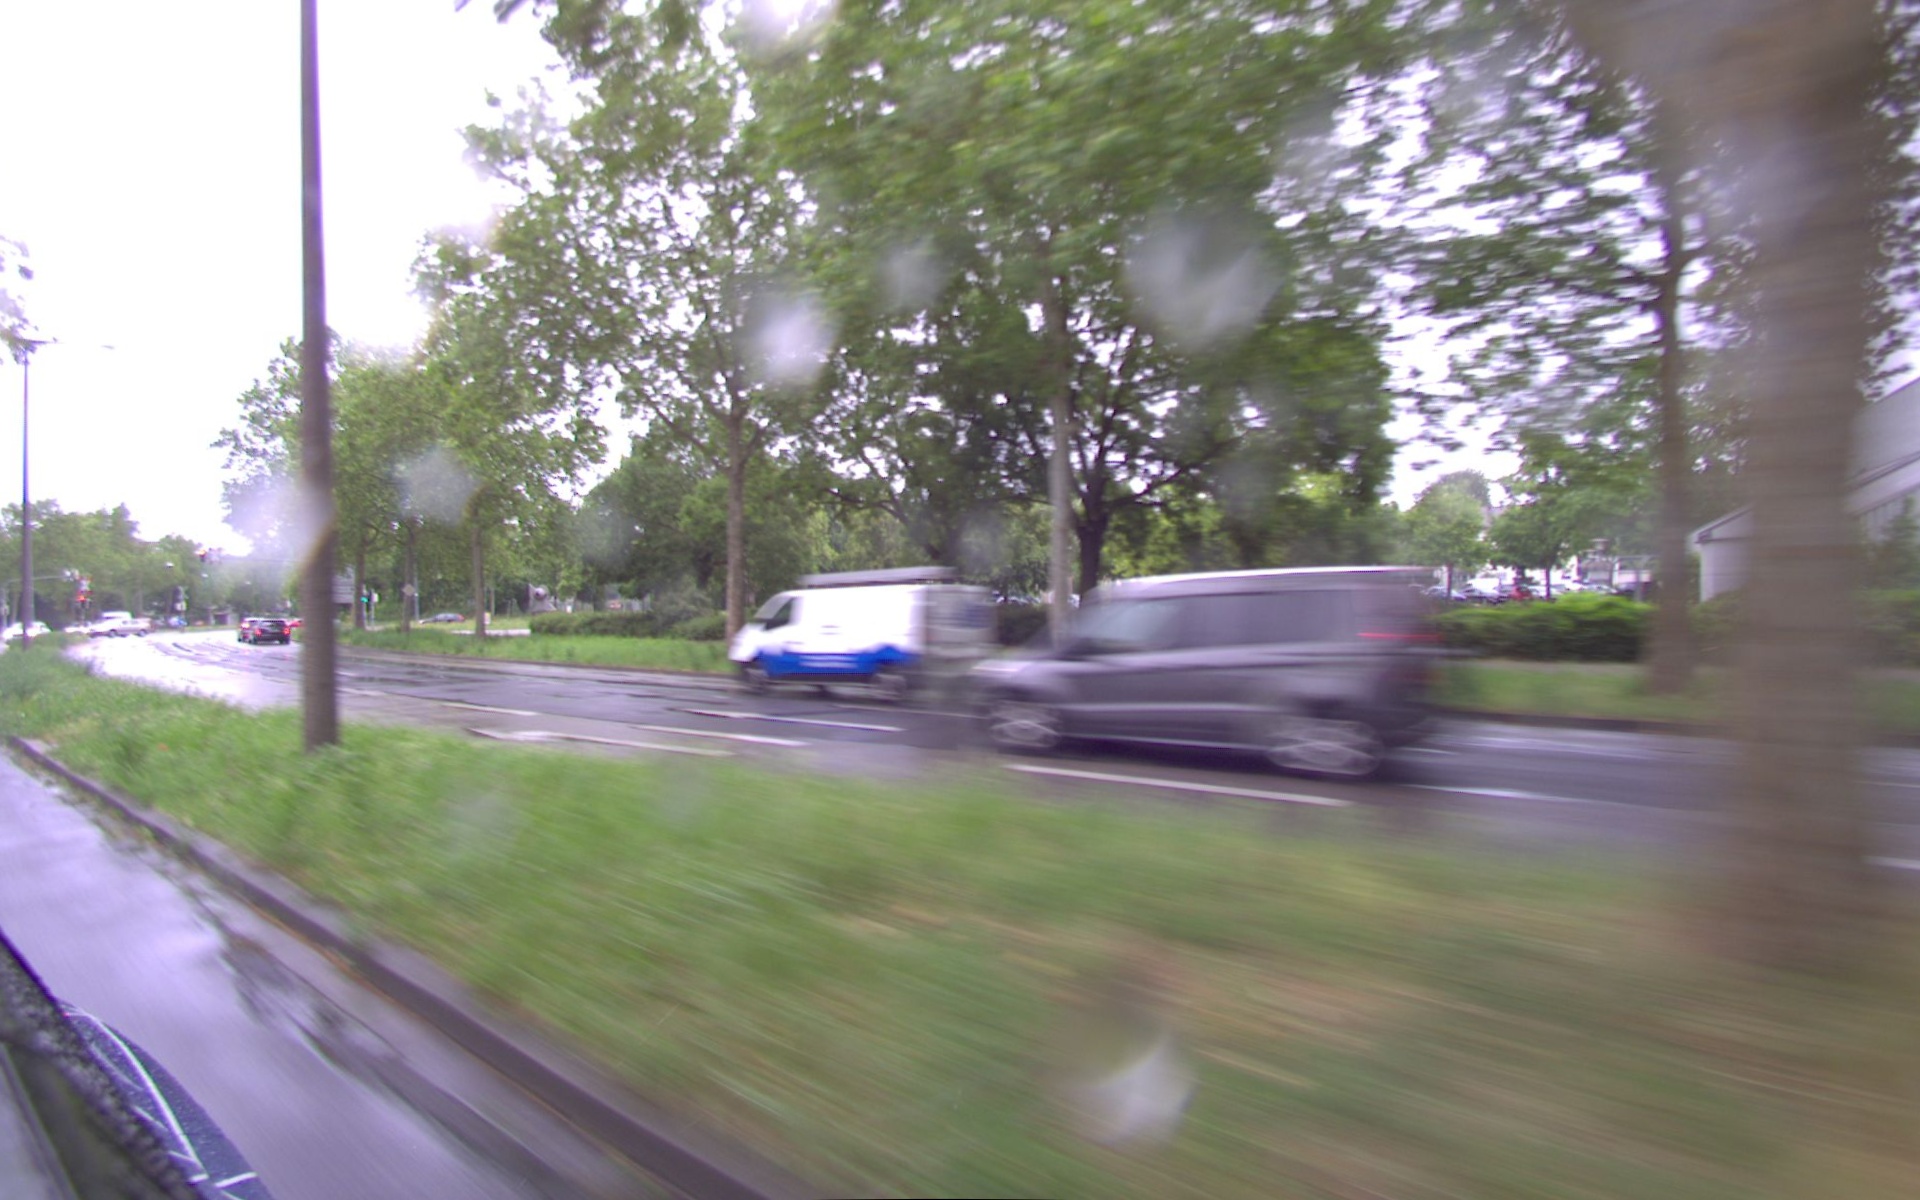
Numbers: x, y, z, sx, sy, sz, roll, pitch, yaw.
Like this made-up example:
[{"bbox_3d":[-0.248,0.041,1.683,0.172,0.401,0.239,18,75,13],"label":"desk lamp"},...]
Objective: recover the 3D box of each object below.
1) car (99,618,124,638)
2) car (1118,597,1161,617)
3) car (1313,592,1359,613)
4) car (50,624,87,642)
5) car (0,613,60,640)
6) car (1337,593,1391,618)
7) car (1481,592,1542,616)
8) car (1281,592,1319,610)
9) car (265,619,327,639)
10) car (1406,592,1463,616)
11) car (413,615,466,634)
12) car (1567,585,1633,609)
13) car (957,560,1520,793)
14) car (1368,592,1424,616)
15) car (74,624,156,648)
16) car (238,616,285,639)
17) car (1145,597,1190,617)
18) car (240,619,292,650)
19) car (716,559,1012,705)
[{"bbox_3d":[-94.844,3.102,113.120,1.968,2.124,5.153,-1,0,-38],"label":"car"},{"bbox_3d":[14.453,0.536,81.845,1.967,1.549,4.508,-1,0,-10],"label":"car"},{"bbox_3d":[34.806,0.237,93.803,1.967,1.916,4.508,-1,0,-10],"label":"car"},{"bbox_3d":[-87.649,3.195,99.505,1.966,1.642,4.535,-1,0,-32],"label":"car"},{"bbox_3d":[-60.533,1.677,65.677,1.965,1.642,4.537,-1,0,-26],"label":"car"},{"bbox_3d":[33.000,0.463,82.847,1.967,1.916,4.508,-1,0,-10],"label":"car"},{"bbox_3d":[45.328,0.323,83.357,1.967,1.916,4.508,-1,0,-10],"label":"car"},{"bbox_3d":[37.381,0.104,111.221,1.967,1.916,4.508,-1,0,-10],"label":"car"},{"bbox_3d":[-60.464,2.643,92.224,4.443,1.642,2.007,-1,0,-23],"label":"car"},{"bbox_3d":[38.912,0.319,83.145,1.967,1.916,4.508,-1,0,-10],"label":"car"},{"bbox_3d":[-51.382,2.412,99.974,4.443,1.642,2.007,-1,0,-23],"label":"car"},{"bbox_3d":[52.560,-0.247,83.205,1.967,1.916,4.508,-1,0,-10],"label":"car"},{"bbox_3d":[2.512,0.620,9.948,4.950,1.749,2.010,-2,-1,40],"label":"car"},{"bbox_3d":[35.591,0.314,82.726,1.967,1.916,4.508,-1,0,-10],"label":"car"},{"bbox_3d":[-64.877,2.770,77.764,1.983,1.642,4.478,-1,0,17],"label":"car"},{"bbox_3d":[-44.046,1.712,63.789,1.969,1.384,4.338,-1,0,-41],"label":"car"},{"bbox_3d":[16.742,0.532,81.759,1.967,1.549,4.508,-1,0,-10],"label":"car"},{"bbox_3d":[-39.430,1.943,57.471,1.969,1.643,4.338,-1,0,-41],"label":"car"},{"bbox_3d":[-1.856,0.541,18.090,5.429,2.243,2.010,-2,-1,40],"label":"car"}]
